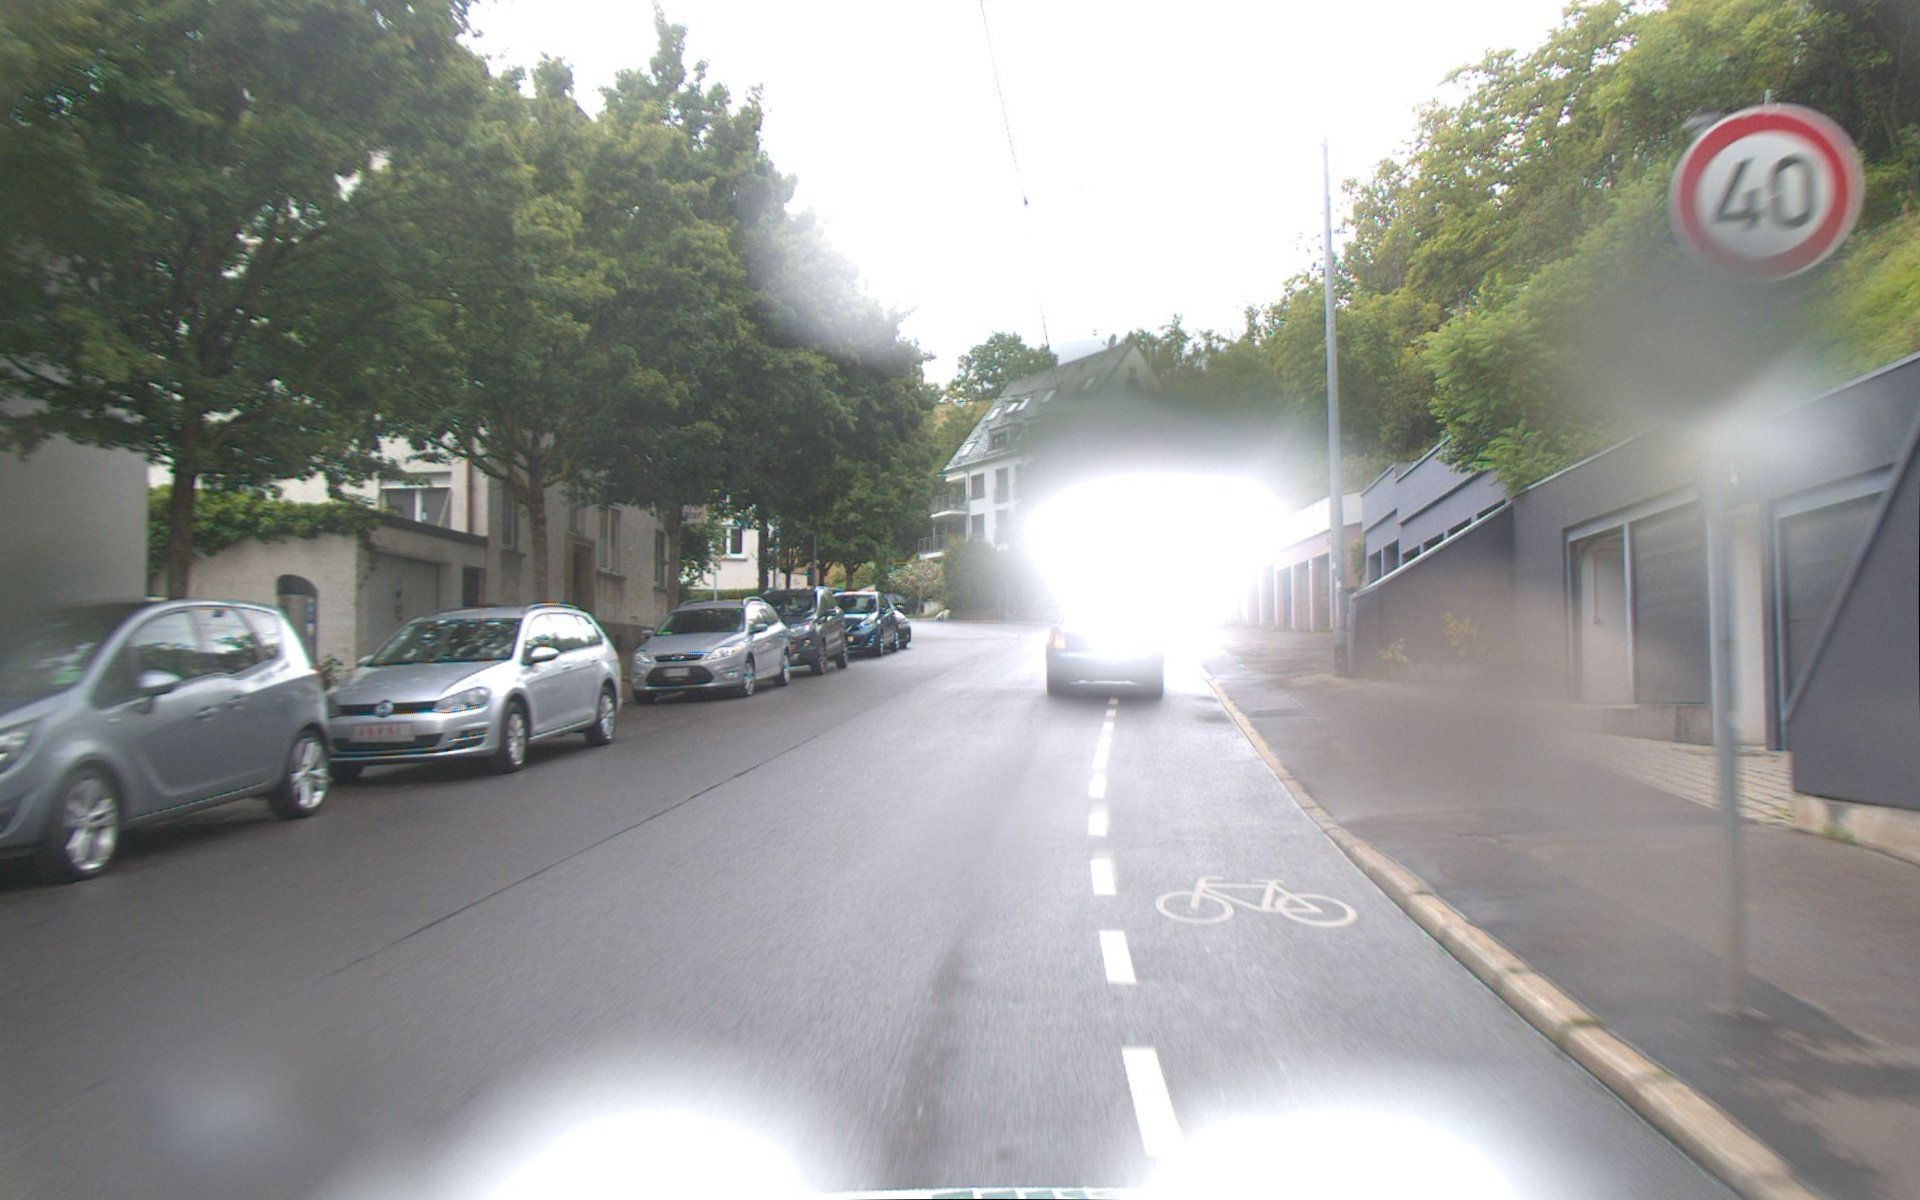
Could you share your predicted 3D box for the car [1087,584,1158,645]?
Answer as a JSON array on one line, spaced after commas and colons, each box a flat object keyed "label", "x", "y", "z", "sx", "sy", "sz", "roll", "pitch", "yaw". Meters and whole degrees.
[{"label": "car", "x": 4.749, "y": 0.399, "z": 48.744, "sx": 1.909, "sy": 1.588, "sz": 4.265, "roll": 4, "pitch": 0, "yaw": 4}]

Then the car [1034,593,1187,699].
[{"label": "car", "x": 2.365, "y": 0.615, "z": 24.998, "sx": 1.814, "sy": 1.438, "sz": 4.365, "roll": 0, "pitch": 0, "yaw": 12}]

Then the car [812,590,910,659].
[{"label": "car", "x": -2.364, "y": 0.548, "z": 40.302, "sx": 1.676, "sy": 1.488, "sz": 3.884, "roll": 2, "pitch": 1, "yaw": 7}]

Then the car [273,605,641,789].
[{"label": "car", "x": -4.601, "y": 0.812, "z": 15.933, "sx": 1.766, "sy": 1.478, "sz": 4.599, "roll": -2, "pitch": 0, "yaw": 5}]

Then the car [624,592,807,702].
[{"label": "car", "x": -3.833, "y": 0.747, "z": 26.779, "sx": 1.766, "sy": 1.579, "sz": 4.802, "roll": -2, "pitch": -1, "yaw": 6}]

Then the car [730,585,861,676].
[{"label": "car", "x": -3.201, "y": 0.577, "z": 32.916, "sx": 1.766, "sy": 1.655, "sz": 4.142, "roll": 1, "pitch": 0, "yaw": 6}]

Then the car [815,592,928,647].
[{"label": "car", "x": -2.467, "y": 0.523, "z": 45.071, "sx": 1.964, "sy": 1.415, "sz": 4.172, "roll": 0, "pitch": -1, "yaw": -20}]

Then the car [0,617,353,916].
[{"label": "car", "x": -5.607, "y": 0.912, "z": 10.335, "sx": 1.767, "sy": 1.512, "sz": 4.238, "roll": -2, "pitch": -1, "yaw": 4}]
